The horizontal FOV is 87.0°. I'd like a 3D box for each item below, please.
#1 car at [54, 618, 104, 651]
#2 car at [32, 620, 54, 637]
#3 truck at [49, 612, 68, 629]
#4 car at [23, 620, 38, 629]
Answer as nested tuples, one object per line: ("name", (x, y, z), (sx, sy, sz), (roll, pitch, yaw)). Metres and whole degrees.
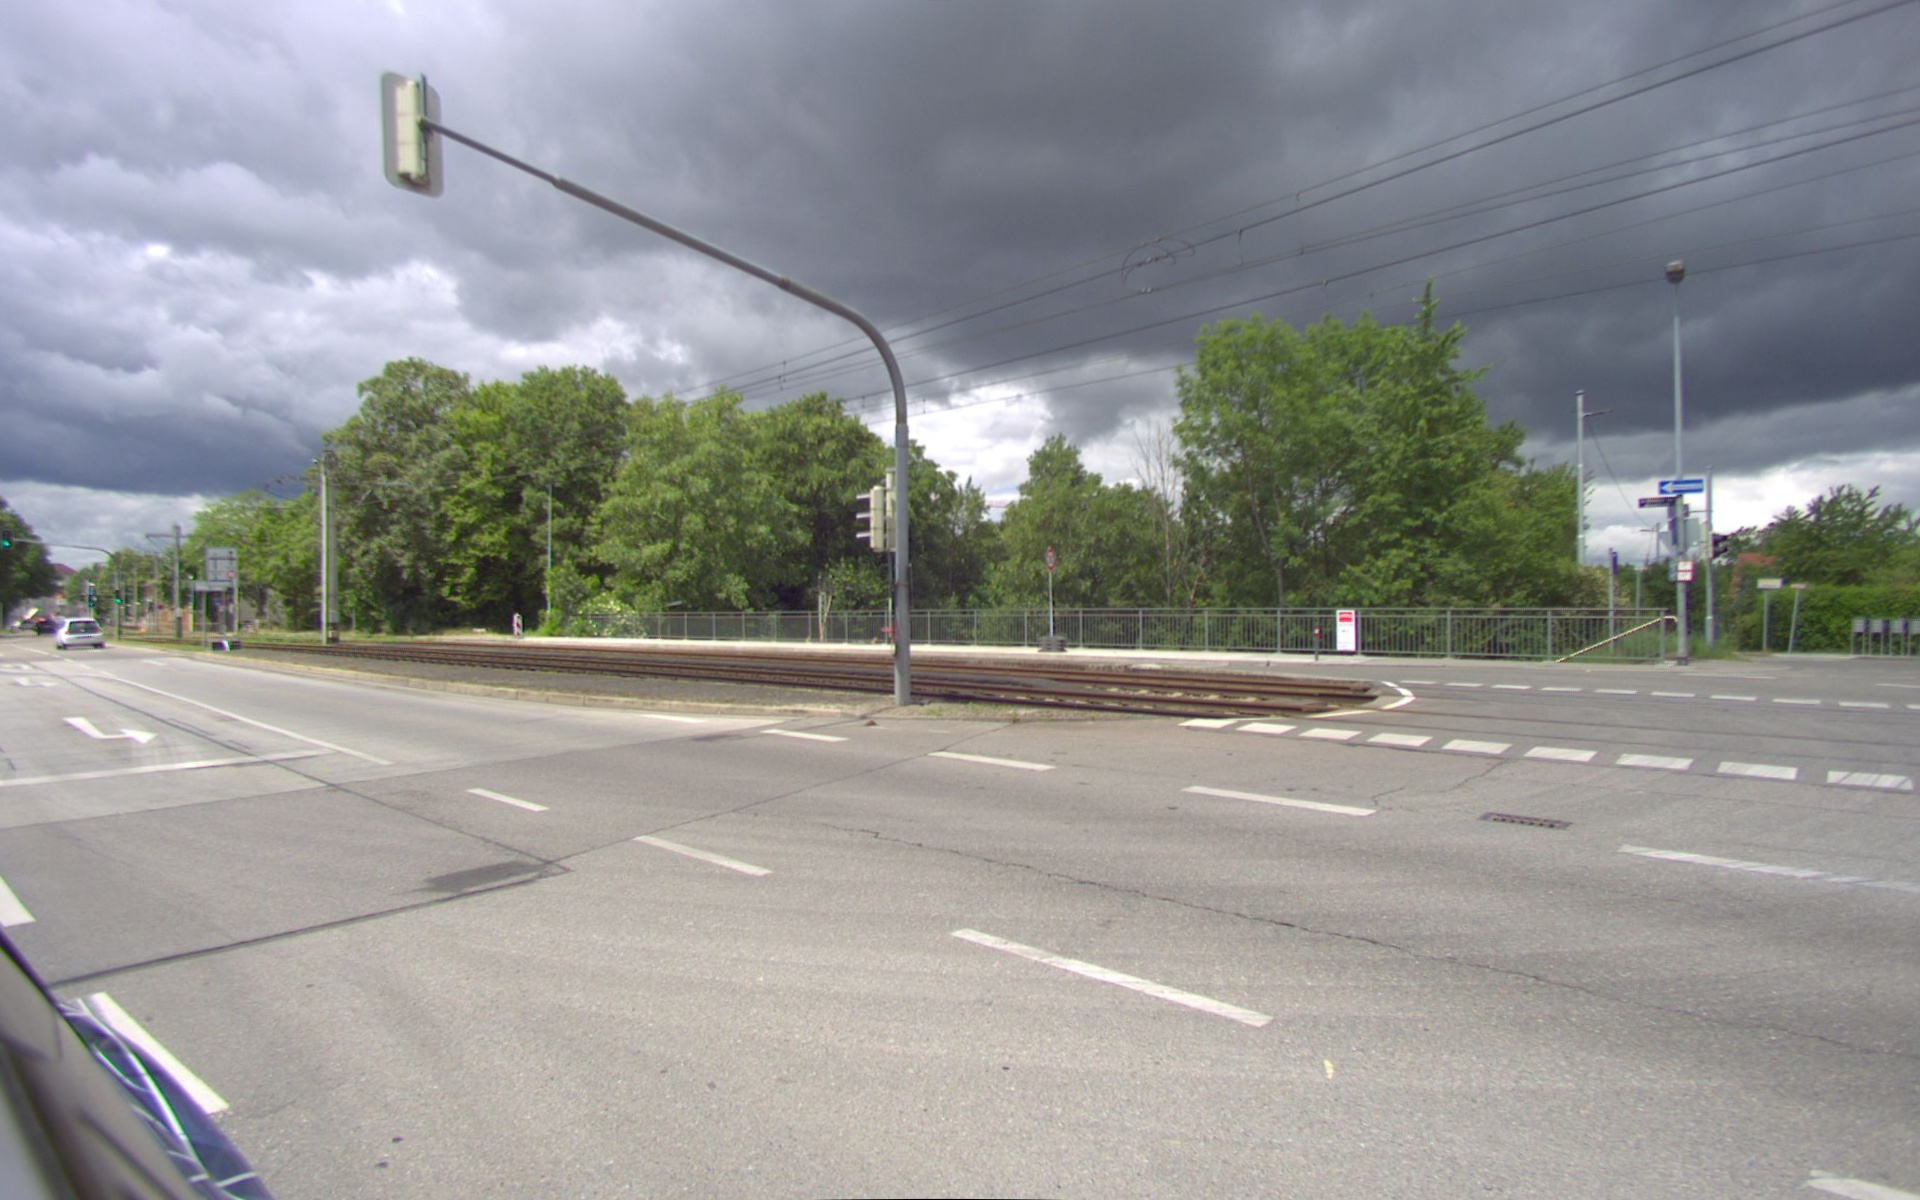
("car", (-43.986, 1.679, 50.503), (3.655, 1.538, 1.575), (-1, -1, 43))
("car", (-100.333, 3.129, 110.724), (1.687, 1.688, 4.232), (-3, 1, -43))
("truck", (-155.284, 3.527, 174.295), (2.067, 2.759, 5.101), (-3, 1, -44))
("car", (-165.880, 4.436, 180.576), (1.561, 1.496, 3.814), (-3, 0, -38))
